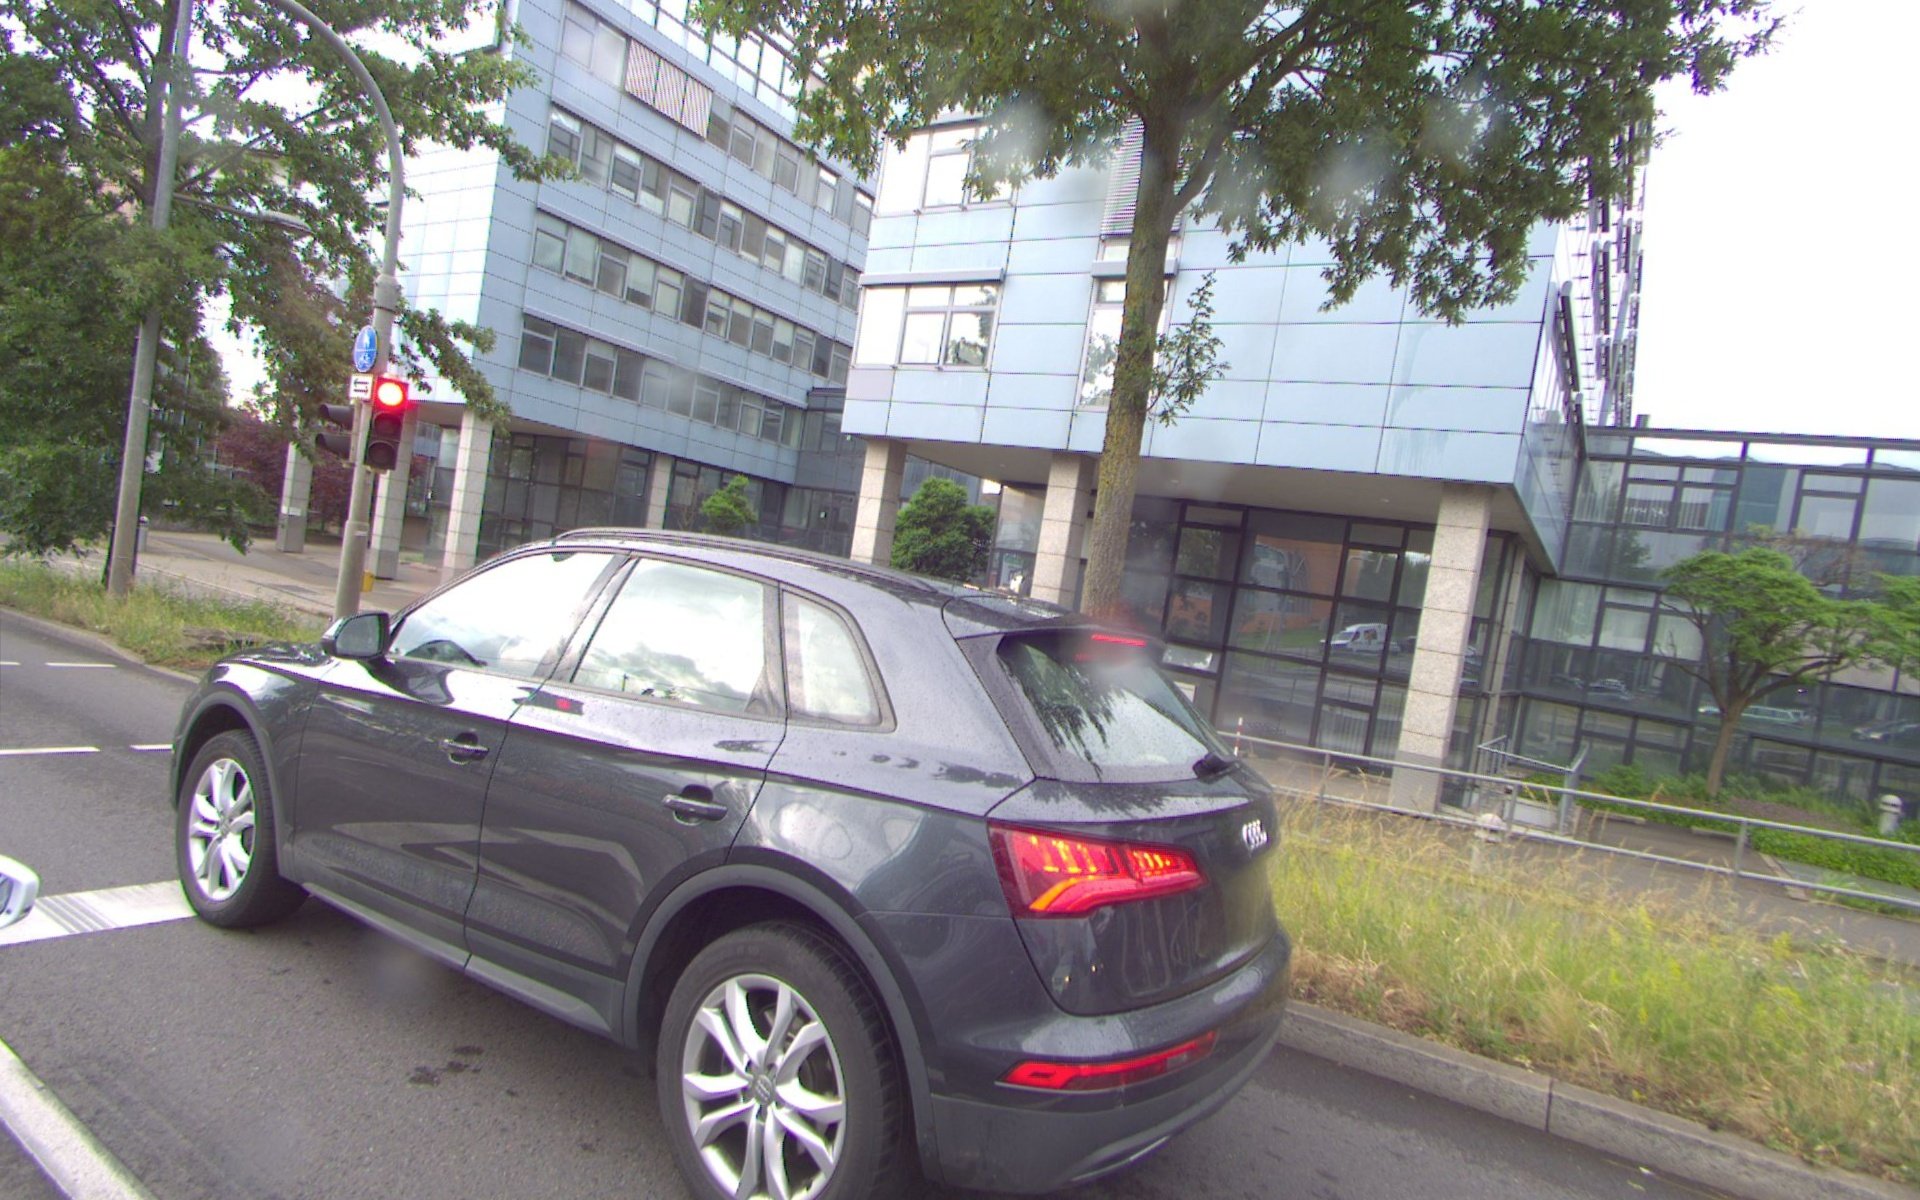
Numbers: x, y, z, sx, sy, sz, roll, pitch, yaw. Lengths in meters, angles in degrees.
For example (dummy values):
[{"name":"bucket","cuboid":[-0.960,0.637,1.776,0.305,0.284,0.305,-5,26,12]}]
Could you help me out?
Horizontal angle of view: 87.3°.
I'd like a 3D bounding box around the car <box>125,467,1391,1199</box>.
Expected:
[{"name":"car","cuboid":[-0.985,0.578,3.727,4.396,1.632,1.821,7,-1,32]}]
